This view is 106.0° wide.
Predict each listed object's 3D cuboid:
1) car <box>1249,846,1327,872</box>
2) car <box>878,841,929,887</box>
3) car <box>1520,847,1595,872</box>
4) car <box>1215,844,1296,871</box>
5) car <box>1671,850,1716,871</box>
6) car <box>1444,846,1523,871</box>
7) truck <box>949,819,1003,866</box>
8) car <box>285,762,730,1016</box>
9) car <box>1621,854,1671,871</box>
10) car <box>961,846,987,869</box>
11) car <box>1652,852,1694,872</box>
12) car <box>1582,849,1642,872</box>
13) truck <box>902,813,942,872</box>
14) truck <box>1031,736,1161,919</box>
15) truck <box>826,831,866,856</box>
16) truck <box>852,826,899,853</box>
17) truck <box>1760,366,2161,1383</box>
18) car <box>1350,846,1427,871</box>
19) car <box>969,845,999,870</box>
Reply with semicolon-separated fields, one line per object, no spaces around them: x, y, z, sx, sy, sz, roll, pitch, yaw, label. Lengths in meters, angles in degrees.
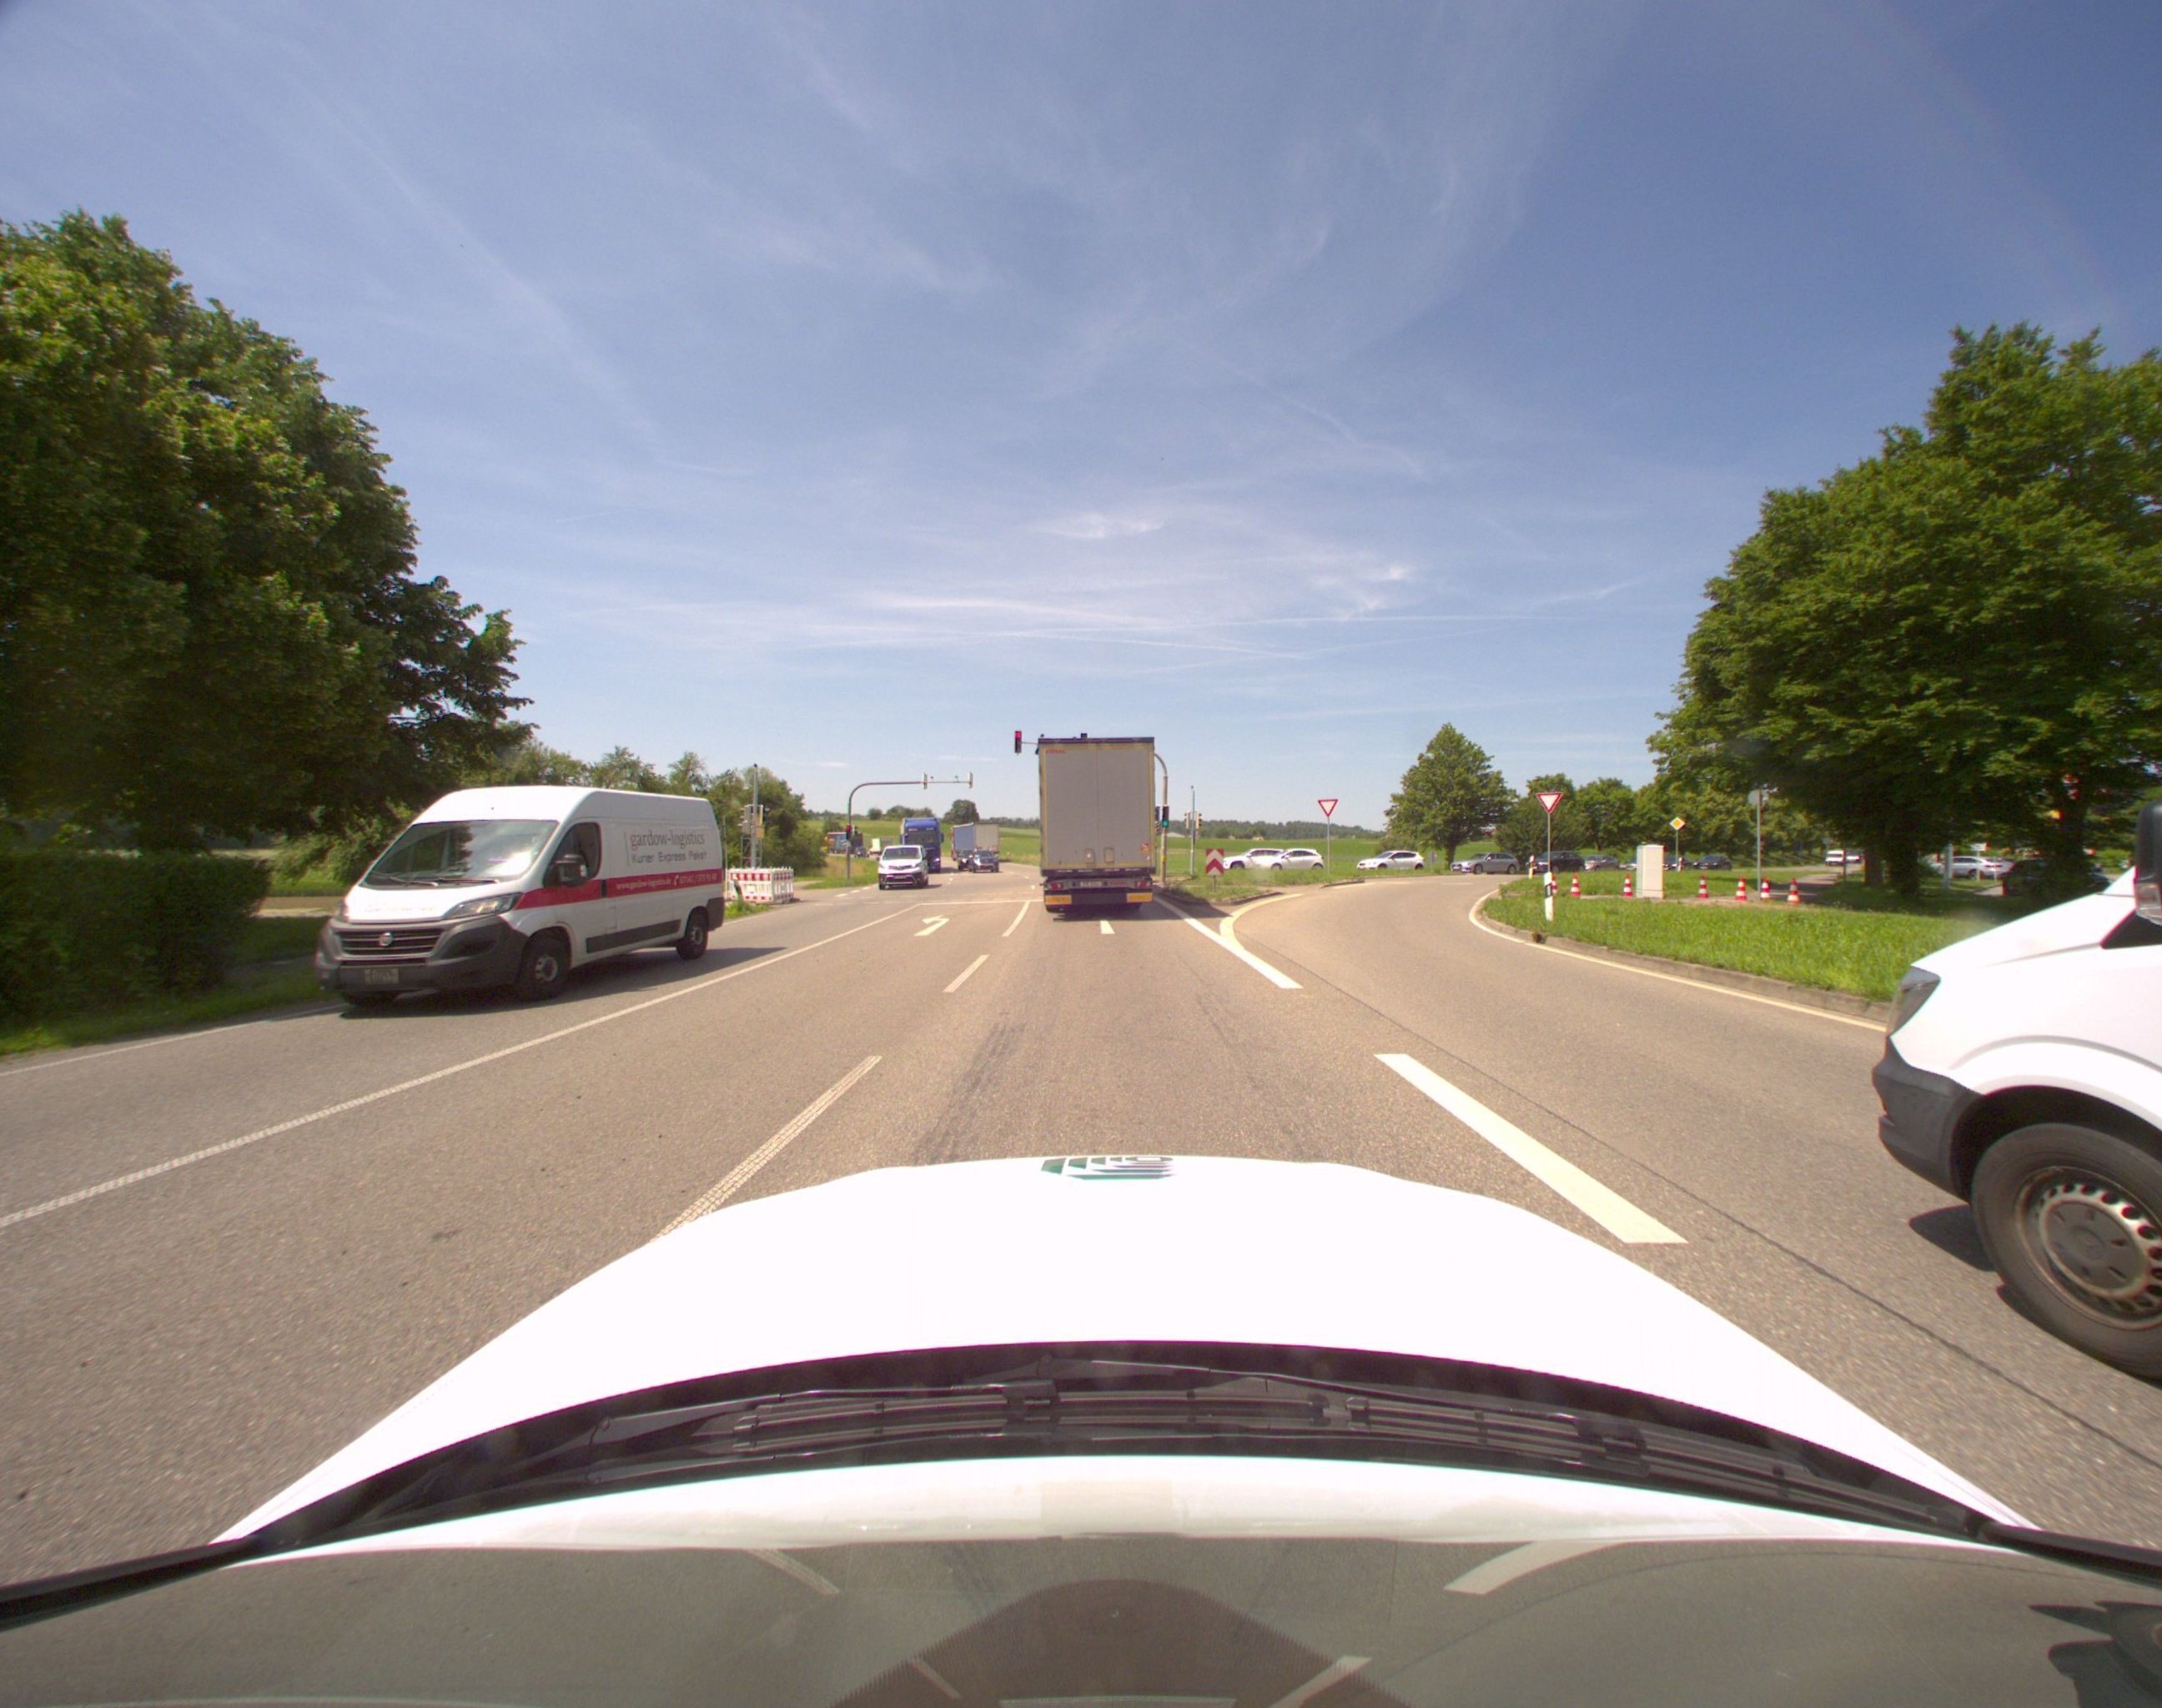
11.960;0.278;47.177;3.960;1.419;1.821;-1;-1;-11;car
-7.846;0.412;36.319;1.870;1.886;4.936;-2;0;-9;car
30.855;0.372;52.709;4.564;1.510;1.788;2;-2;-21;car
10.945;0.230;51.221;4.616;1.607;1.995;0;-2;-4;car
50.844;0.561;67.565;4.312;1.698;1.977;0;-1;-38;car
25.051;0.293;50.689;4.562;1.510;1.789;1;-2;-20;car
-11.648;-1.049;88.580;2.968;4.584;16.219;-1;0;-17;truck
-6.831;0.324;10.725;2.044;2.452;5.268;-2;0;0;car
41.934;0.651;60.384;4.584;1.273;1.780;1;-1;-39;car
-8.326;0.267;63.038;1.771;1.658;3.986;-1;0;-10;car
46.669;0.622;64.143;4.255;1.510;1.779;1;-2;-41;car
36.640;0.477;56.159;4.579;1.510;1.782;1;-1;-34;car
-11.530;-0.838;59.119;2.568;4.029;6.535;-1;1;-11;truck
0.174;-0.604;22.418;2.801;3.946;9.583;0;0;-2;truck
-45.419;-1.941;157.018;3.555;4.241;13.262;0;-1;-34;truck
-36.250;-2.437;143.223;3.664;4.129;12.955;1;-1;-35;truck
3.854;0.037;0.517;2.058;2.737;5.947;-1;-1;3;truck
18.496;0.274;49.002;4.102;1.419;1.790;-1;-1;-17;car
-6.822;0.245;56.859;1.772;1.658;3.985;-1;0;-11;car
